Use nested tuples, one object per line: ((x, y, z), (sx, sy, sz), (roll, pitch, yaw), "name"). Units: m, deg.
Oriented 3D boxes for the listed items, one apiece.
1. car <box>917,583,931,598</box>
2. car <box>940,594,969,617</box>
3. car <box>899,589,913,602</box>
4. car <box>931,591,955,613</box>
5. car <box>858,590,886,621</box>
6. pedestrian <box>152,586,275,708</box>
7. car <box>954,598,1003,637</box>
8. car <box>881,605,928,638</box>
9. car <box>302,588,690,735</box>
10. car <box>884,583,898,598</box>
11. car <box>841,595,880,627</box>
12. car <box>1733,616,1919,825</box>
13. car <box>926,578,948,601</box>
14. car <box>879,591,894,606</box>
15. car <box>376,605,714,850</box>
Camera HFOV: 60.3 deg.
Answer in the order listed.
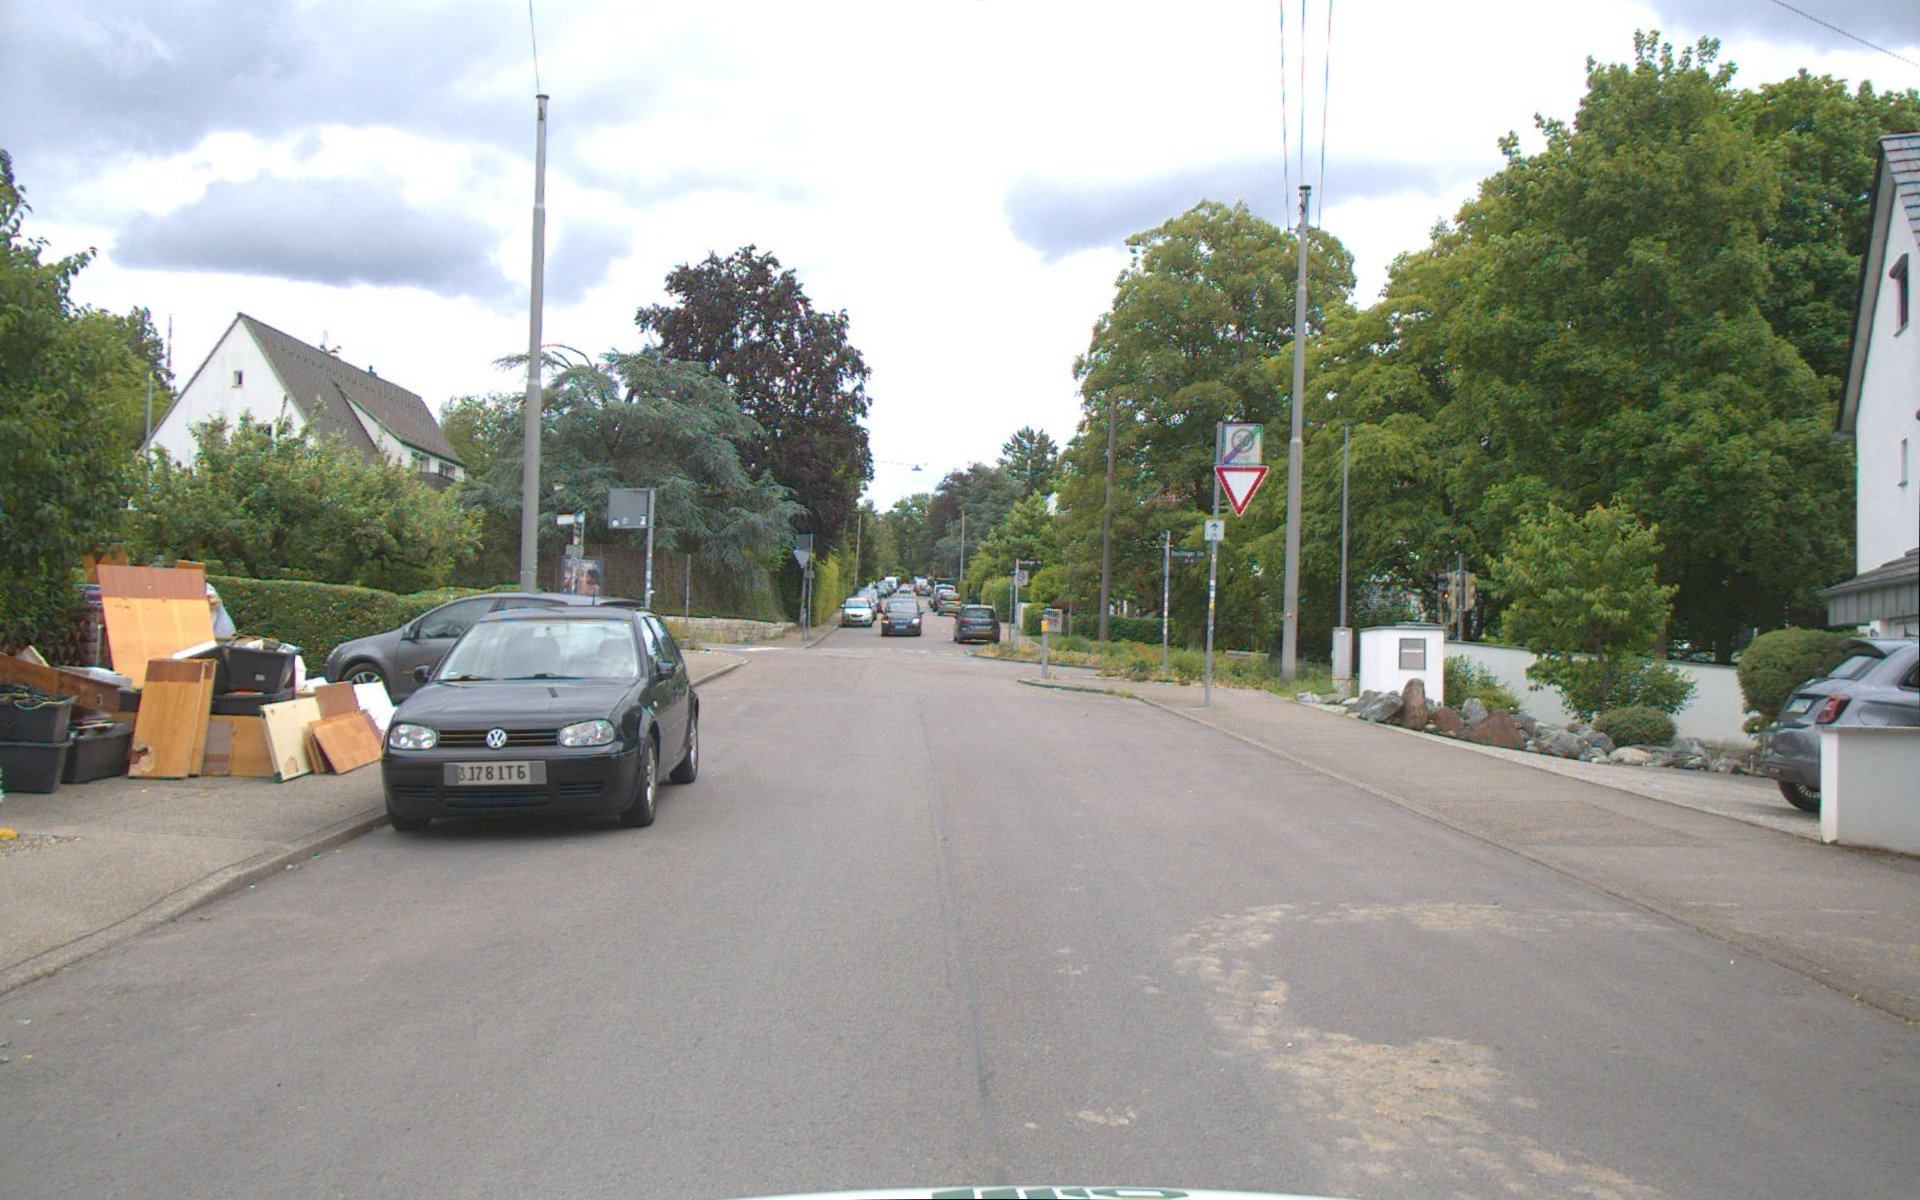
((-4.469, -1.205, 204.056), (1.601, 1.731, 3.493), (2, 0, -2), "car")
((-0.403, 0.358, 112.079), (1.774, 1.359, 3.631), (3, 1, -3), "car")
((-8.268, -0.658, 252.522), (1.954, 1.914, 3.998), (3, 0, -2), "car")
((-1.230, 0.136, 120.929), (1.753, 1.556, 3.734), (2, 0, 0), "car")
((-5.246, 0.296, 98.868), (1.601, 1.731, 3.761), (2, 0, -2), "car")
((-7.966, 0.496, 17.653), (0.941, 1.246, 0.823), (3, -2, -44), "pedestrian")
((0.727, 0.703, 68.523), (1.743, 1.515, 3.998), (2, 0, -3), "car")
((-2.505, 0.956, 75.279), (1.692, 1.432, 3.805), (1, 0, 4), "car")
((-5.318, 0.656, 19.121), (3.902, 1.469, 1.828), (2, 0, 15), "car")
((-9.349, -1.258, 223.683), (1.781, 1.914, 3.998), (3, 0, -2), "car")
((-5.291, 0.592, 88.266), (1.676, 1.613, 4.000), (2, 0, 1), "car")
((8.556, 1.105, 13.245), (3.904, 1.497, 1.790), (6, -1, 14), "car")
((-1.854, -0.852, 132.893), (1.601, 1.731, 3.493), (2, 0, -2), "car")
((-7.846, -0.149, 176.651), (1.594, 1.410, 3.596), (3, 0, -2), "car")
((-2.782, 0.767, 11.926), (1.604, 1.419, 3.986), (-1, 0, -3), "car")
